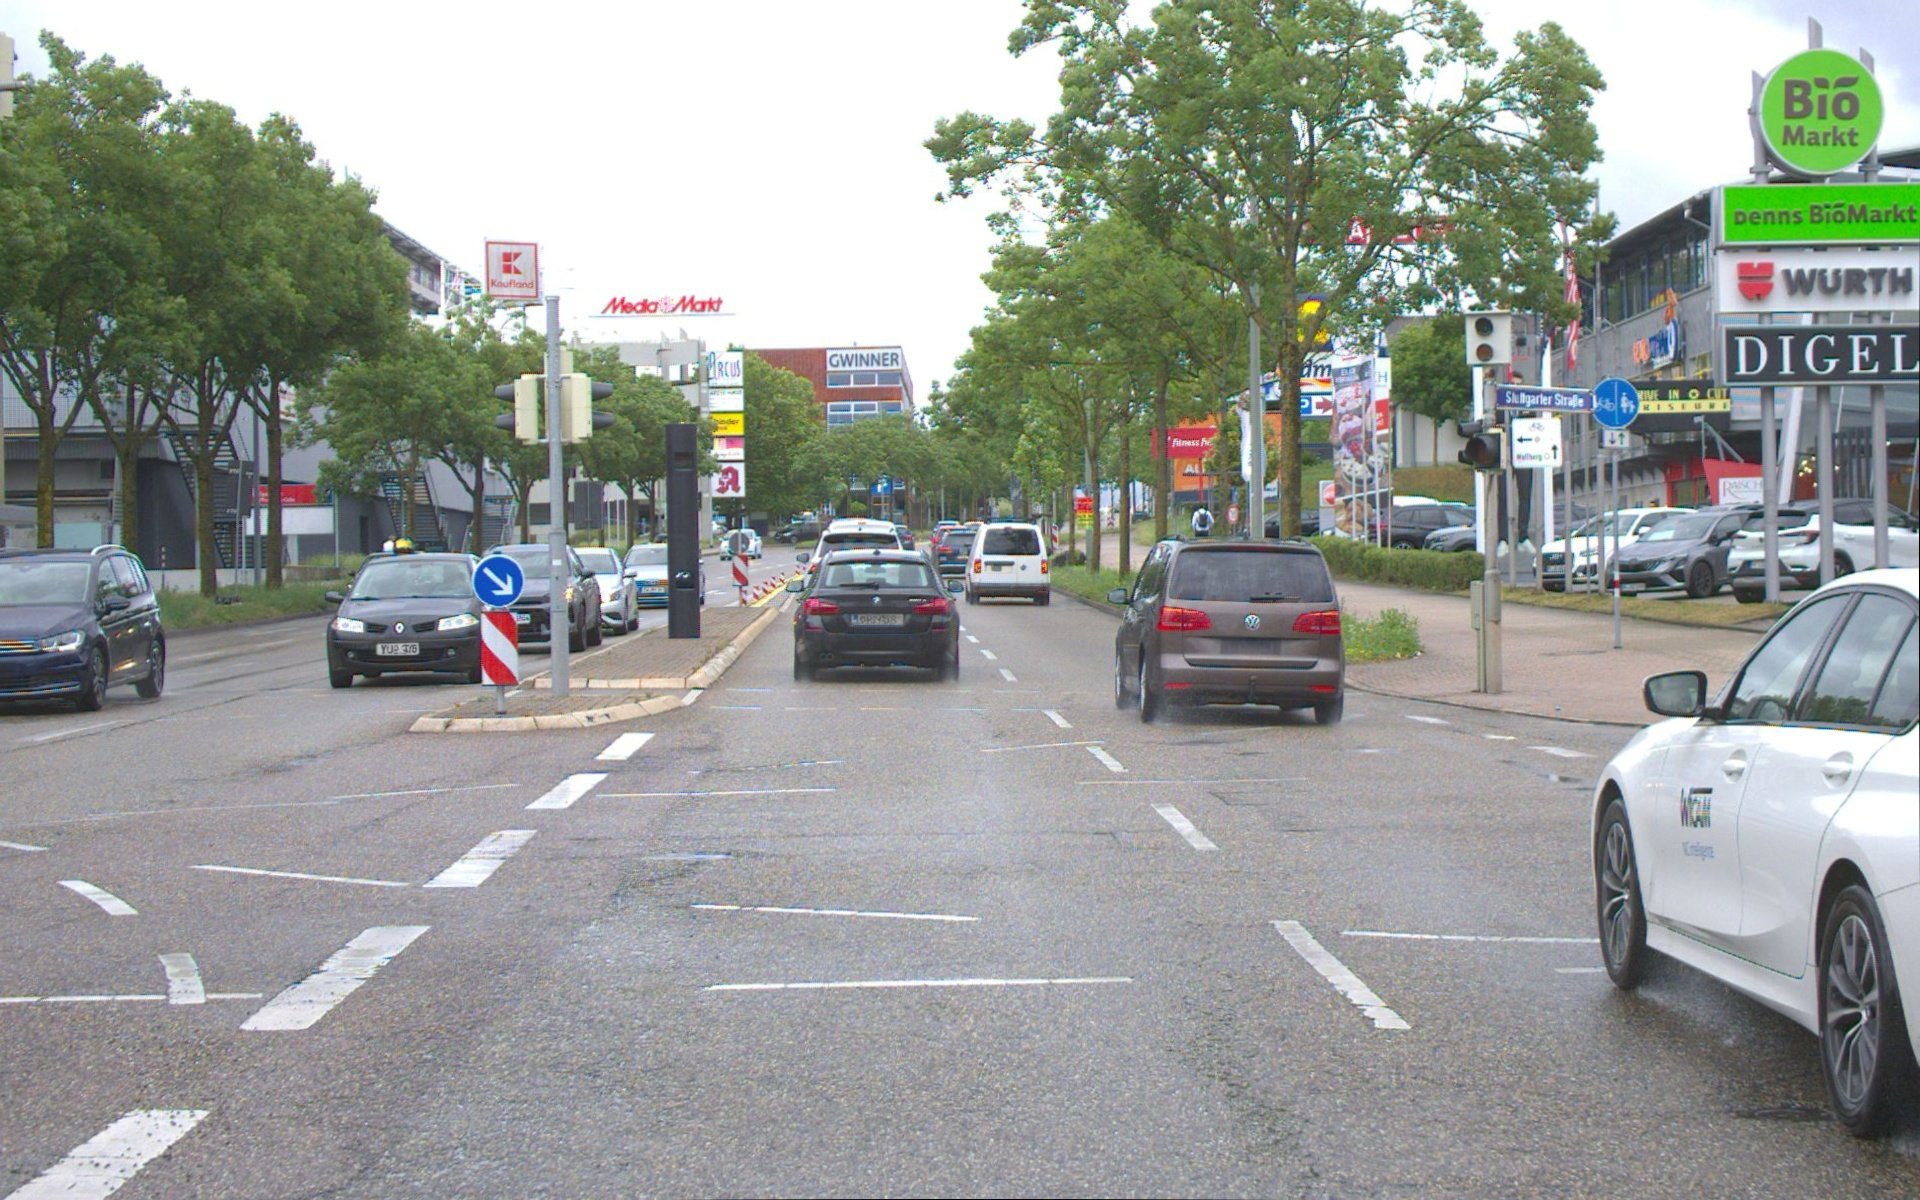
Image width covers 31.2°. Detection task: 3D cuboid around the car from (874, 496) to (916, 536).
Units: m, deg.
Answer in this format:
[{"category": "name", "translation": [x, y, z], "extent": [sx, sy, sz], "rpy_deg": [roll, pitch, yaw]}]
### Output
[{"category": "car", "translation": [-2.548, -3.275, 134.453], "extent": [1.594, 1.469, 3.445], "rpy_deg": [1, 0, -1]}]

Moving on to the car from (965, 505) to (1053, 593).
[{"category": "car", "translation": [1.063, -1.127, 76.190], "extent": [1.782, 1.860, 4.000], "rpy_deg": [-1, 1, -1]}]

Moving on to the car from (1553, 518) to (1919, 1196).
[{"category": "car", "translation": [3.048, 0.575, 9.774], "extent": [1.801, 1.539, 4.620], "rpy_deg": [1, 1, -1]}]

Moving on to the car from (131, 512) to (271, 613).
[{"category": "car", "translation": [-15.744, -0.766, 71.510], "extent": [1.993, 2.007, 4.000], "rpy_deg": [1, 0, 0]}]

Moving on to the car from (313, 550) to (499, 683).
[{"category": "car", "translation": [-6.179, 0.147, 38.692], "extent": [1.682, 1.372, 4.001], "rpy_deg": [-1, 1, -4]}]

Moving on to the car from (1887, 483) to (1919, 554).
[{"category": "car", "translation": [21.494, -1.759, 72.126], "extent": [4.143, 1.463, 1.831], "rpy_deg": [-3, 2, -38]}]

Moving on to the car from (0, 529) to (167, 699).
[{"category": "car", "translation": [-9.393, 0.106, 34.954], "extent": [1.910, 1.603, 4.364], "rpy_deg": [-1, 1, -4]}]

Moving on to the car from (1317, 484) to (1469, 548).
[{"category": "car", "translation": [11.993, -2.332, 95.366], "extent": [4.111, 1.697, 1.799], "rpy_deg": [0, 1, 5]}]

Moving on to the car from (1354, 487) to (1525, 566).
[{"category": "car", "translation": [12.277, -1.891, 88.206], "extent": [4.111, 1.898, 1.799], "rpy_deg": [-1, 1, 1]}]

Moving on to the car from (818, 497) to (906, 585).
[{"category": "car", "translation": [-2.311, -1.372, 81.837], "extent": [1.993, 2.007, 4.000], "rpy_deg": [1, 0, -1]}]

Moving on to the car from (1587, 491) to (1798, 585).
[{"category": "car", "translation": [12.523, -1.063, 58.713], "extent": [3.588, 1.530, 1.643], "rpy_deg": [-2, 1, -40]}]

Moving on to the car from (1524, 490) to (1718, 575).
[{"category": "car", "translation": [12.783, -1.305, 66.413], "extent": [3.589, 1.530, 1.796], "rpy_deg": [-3, 2, -40]}]

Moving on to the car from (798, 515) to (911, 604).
[{"category": "car", "translation": [-1.780, -0.676, 56.732], "extent": [1.682, 1.372, 4.001], "rpy_deg": [-1, 1, -4]}]

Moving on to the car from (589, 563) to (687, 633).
[{"category": "car", "translation": [-7.049, -0.073, 75.694], "extent": [1.723, 1.393, 4.789], "rpy_deg": [-3, 1, -1]}]

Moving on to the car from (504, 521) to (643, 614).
[{"category": "car", "translation": [-6.391, -0.564, 57.280], "extent": [1.840, 1.372, 4.863], "rpy_deg": [-4, 1, -2]}]

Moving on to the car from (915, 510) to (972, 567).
[{"category": "car", "translation": [-0.502, -1.877, 105.436], "extent": [1.685, 1.678, 3.403], "rpy_deg": [1, 0, 0]}]

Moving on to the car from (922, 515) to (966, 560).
[{"category": "car", "translation": [-0.637, -2.481, 135.808], "extent": [1.695, 1.438, 3.990], "rpy_deg": [-1, 5, 0]}]

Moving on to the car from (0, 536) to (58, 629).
[{"category": "car", "translation": [-17.783, -0.281, 59.721], "extent": [3.994, 1.546, 1.896], "rpy_deg": [-1, 2, 34]}]

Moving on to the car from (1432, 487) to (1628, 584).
[{"category": "car", "translation": [12.774, -1.452, 77.187], "extent": [4.111, 2.098, 1.800], "rpy_deg": [-1, 1, 1]}]

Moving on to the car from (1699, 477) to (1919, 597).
[{"category": "car", "translation": [13.476, -0.984, 52.969], "extent": [4.016, 1.657, 1.982], "rpy_deg": [-4, 3, -40]}]

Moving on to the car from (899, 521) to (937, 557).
[{"category": "car", "translation": [-1.847, -2.653, 150.468], "extent": [1.619, 1.490, 3.360], "rpy_deg": [1, 0, -1]}]

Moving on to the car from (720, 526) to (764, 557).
[{"category": "car", "translation": [-10.398, -2.778, 163.913], "extent": [1.943, 1.443, 4.000], "rpy_deg": [0, 1, -2]}]

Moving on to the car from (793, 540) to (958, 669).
[{"category": "car", "translation": [-0.949, 0.024, 39.077], "extent": [1.781, 1.393, 4.000], "rpy_deg": [0, 1, -1]}]

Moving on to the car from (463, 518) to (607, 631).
[{"category": "car", "translation": [-5.971, -0.388, 48.724], "extent": [1.744, 1.484, 4.830], "rpy_deg": [-1, 1, -4]}]

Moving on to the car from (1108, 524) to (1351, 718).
[{"category": "car", "translation": [2.331, 0.130, 30.761], "extent": [1.801, 1.581, 4.451], "rpy_deg": [1, 1, 0]}]

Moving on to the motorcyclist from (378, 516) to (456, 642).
[{"category": "motorcyclist", "translation": [-6.830, -0.277, 43.293], "extent": [0.806, 1.554, 1.268], "rpy_deg": [-1, 1, -2]}]
